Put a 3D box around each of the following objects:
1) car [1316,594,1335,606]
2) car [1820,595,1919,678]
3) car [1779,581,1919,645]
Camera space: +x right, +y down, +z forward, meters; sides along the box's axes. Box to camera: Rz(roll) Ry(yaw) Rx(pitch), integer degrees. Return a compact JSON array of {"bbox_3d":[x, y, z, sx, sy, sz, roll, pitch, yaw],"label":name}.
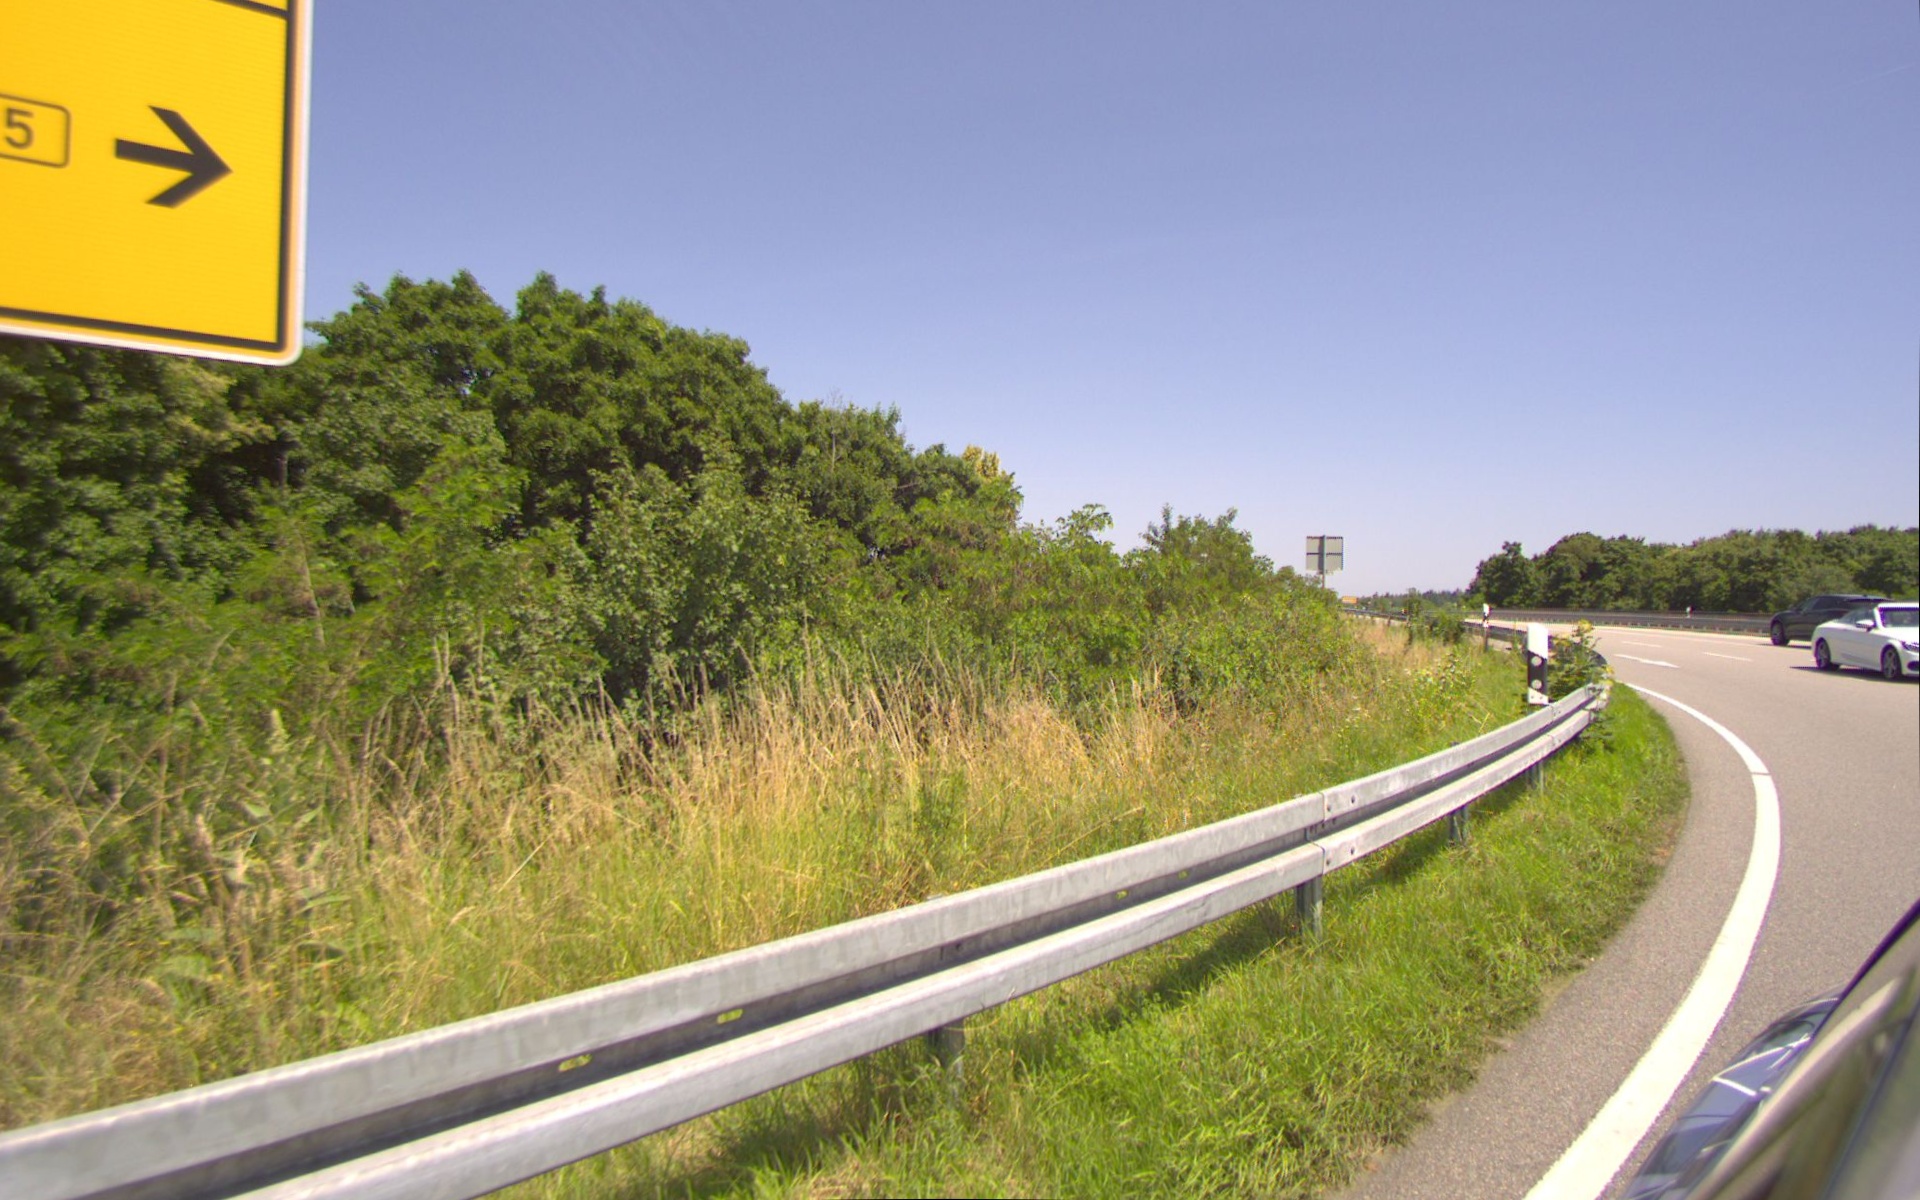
[{"bbox_3d":[49.787,-0.005,137.775,1.713,1.418,4.366,3,0,11],"label":"car"},{"bbox_3d":[18.335,0.630,19.233,1.793,1.433,4.081,0,1,22],"label":"car"},{"bbox_3d":[26.097,0.379,29.325,1.690,1.678,4.552,3,0,11],"label":"car"}]
